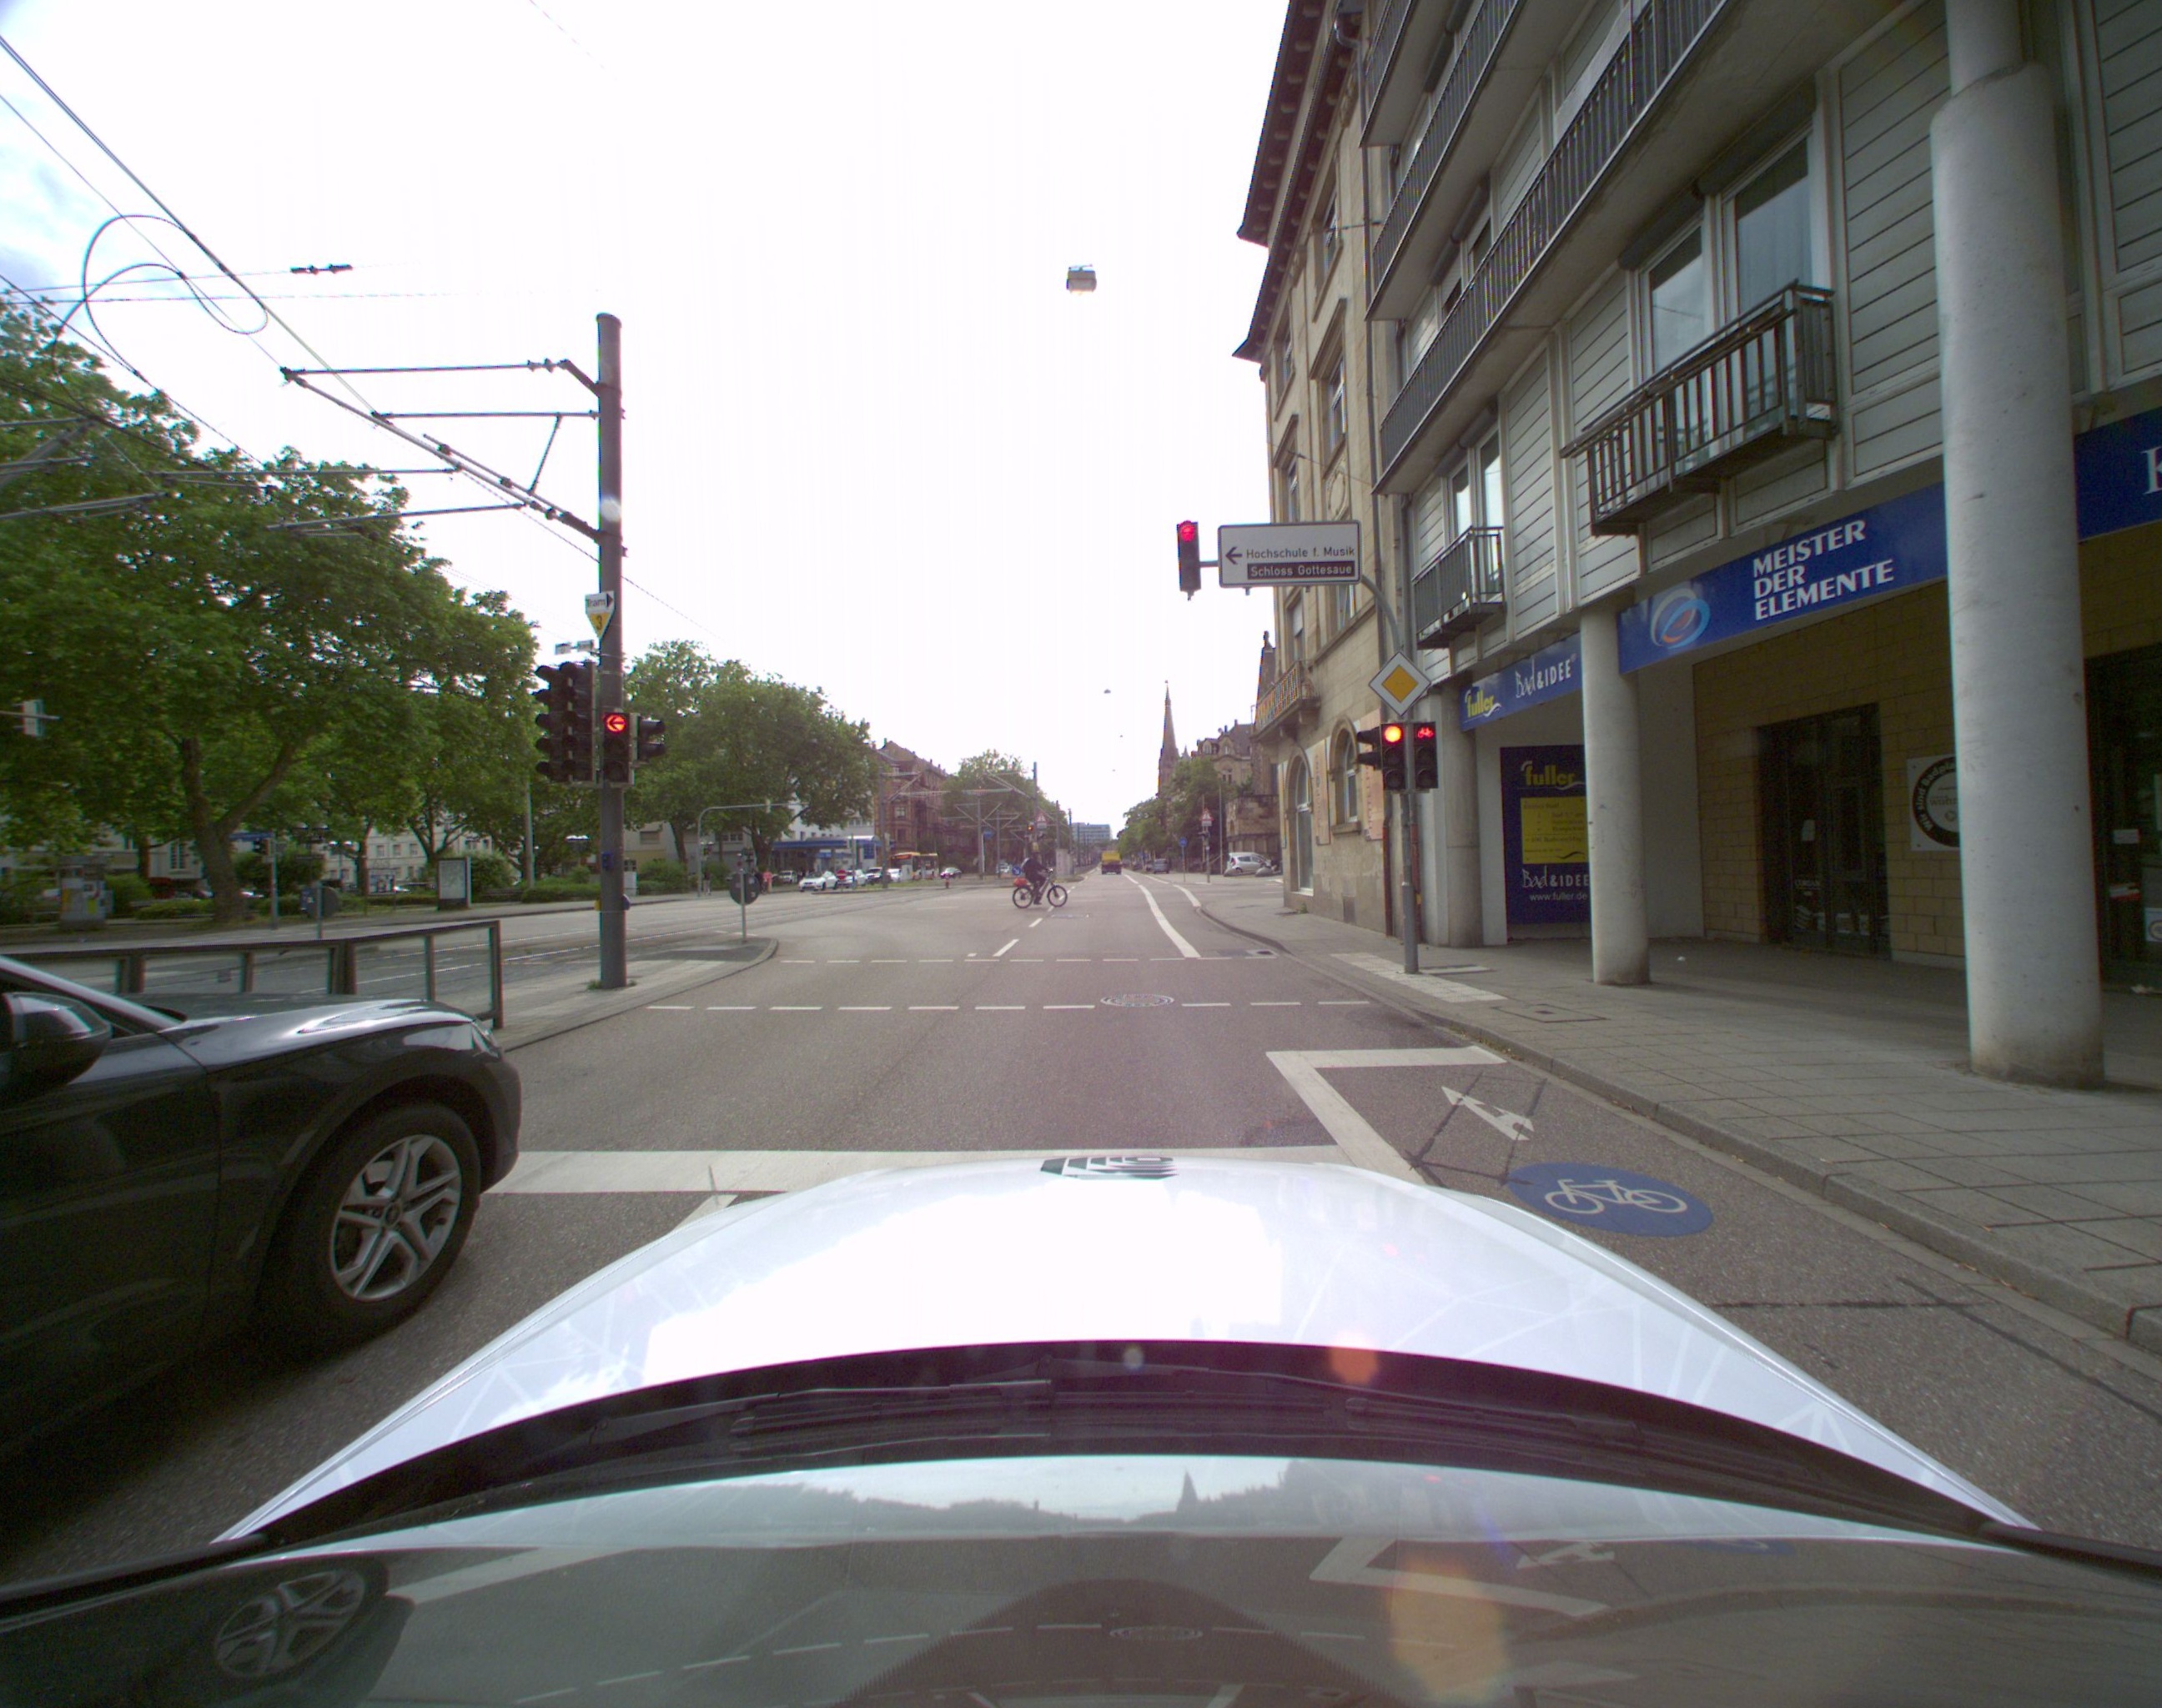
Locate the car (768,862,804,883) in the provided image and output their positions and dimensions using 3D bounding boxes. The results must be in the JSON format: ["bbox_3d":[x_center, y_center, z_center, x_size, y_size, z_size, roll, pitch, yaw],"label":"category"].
[{"bbox_3d":[-29.708,1.815,82.066,1.986,2.014,4.001,-2,0,2],"label":"car"}]

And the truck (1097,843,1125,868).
[{"bbox_3d":[3.595,0.192,98.233,3.044,2.769,9.818,-2,0,2],"label":"truck"}]

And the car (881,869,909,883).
[{"bbox_3d":[-18.159,2.103,79.628,1.649,1.321,3.641,0,-1,3],"label":"car"}]

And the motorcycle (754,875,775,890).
[{"bbox_3d":[-21.644,1.959,55.702,0.604,0.928,1.953,-2,-1,2],"label":"motorcycle"}]

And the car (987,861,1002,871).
[{"bbox_3d":[-15.053,2.068,142.079,1.986,1.610,4.001,0,-1,2],"label":"car"}]

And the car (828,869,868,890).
[{"bbox_3d":[-18.845,2.058,66.064,1.986,1.594,4.001,0,-1,2],"label":"car"}]

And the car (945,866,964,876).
[{"bbox_3d":[-16.520,2.223,106.395,1.649,1.321,3.641,0,-1,3],"label":"car"}]

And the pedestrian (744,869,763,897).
[{"bbox_3d":[-20.651,1.801,51.301,0.863,1.713,0.692,-2,-1,5],"label":"pedestrian"}]

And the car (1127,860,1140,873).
[{"bbox_3d":[8.688,2.060,135.966,1.986,2.014,4.001,0,-1,2],"label":"car"}]

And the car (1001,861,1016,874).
[{"bbox_3d":[-11.902,2.227,134.276,1.986,2.014,4.001,0,-1,2],"label":"car"}]

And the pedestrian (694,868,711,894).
[{"bbox_3d":[-24.197,1.721,52.071,0.680,1.690,0.743,0,-1,6],"label":"pedestrian"}]

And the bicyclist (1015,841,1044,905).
[{"bbox_3d":[-1.666,0.597,26.283,0.696,2.014,0.776,0,-1,-27],"label":"bicyclist"}]

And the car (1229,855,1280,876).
[{"bbox_3d":[13.746,0.910,64.701,3.699,1.563,2.001,0,-1,2],"label":"car"}]

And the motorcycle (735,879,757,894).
[{"bbox_3d":[-22.673,2.179,55.146,0.604,0.928,1.953,-2,-1,2],"label":"motorcycle"}]

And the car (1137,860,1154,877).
[{"bbox_3d":[7.888,1.703,99.563,1.985,2.014,4.004,0,-1,4],"label":"car"}]

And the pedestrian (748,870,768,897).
[{"bbox_3d":[-20.684,1.887,52.116,0.868,1.713,0.875,-2,-1,0],"label":"pedestrian"}]

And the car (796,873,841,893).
[{"bbox_3d":[-19.163,2.078,59.568,1.739,1.321,4.079,0,-1,3],"label":"car"}]

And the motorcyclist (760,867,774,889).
[{"bbox_3d":[-21.604,1.654,56.037,0.617,1.520,0.874,-1,-1,2],"label":"motorcyclist"}]

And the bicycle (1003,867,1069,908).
[{"bbox_3d":[-1.459,1.068,26.395,2.002,1.272,0.744,0,-1,-28],"label":"bicycle"}]

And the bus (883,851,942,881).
[{"bbox_3d":[-18.300,1.302,89.705,3.217,3.035,12.323,0,0,4],"label":"bus"}]

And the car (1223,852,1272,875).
[{"bbox_3d":[13.926,0.794,68.225,3.699,1.855,2.001,0,-1,2],"label":"car"}]

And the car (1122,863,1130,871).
[{"bbox_3d":[11.912,3.382,216.774,1.986,2.014,4.001,0,-1,2],"label":"car"}]

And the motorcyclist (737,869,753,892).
[{"bbox_3d":[-22.687,1.809,54.978,0.617,1.520,0.874,-1,-1,2],"label":"motorcyclist"}]

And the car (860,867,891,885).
[{"bbox_3d":[-18.331,1.931,72.707,1.649,1.478,3.641,0,-1,3],"label":"car"}]

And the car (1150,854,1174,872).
[{"bbox_3d":[8.973,0.993,89.939,1.979,1.855,4.042,-1,-1,14],"label":"car"}]

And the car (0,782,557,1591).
[{"bbox_3d":[-3.070,0.675,1.217,1.727,1.637,4.228,0,-1,2],"label":"car"}]
